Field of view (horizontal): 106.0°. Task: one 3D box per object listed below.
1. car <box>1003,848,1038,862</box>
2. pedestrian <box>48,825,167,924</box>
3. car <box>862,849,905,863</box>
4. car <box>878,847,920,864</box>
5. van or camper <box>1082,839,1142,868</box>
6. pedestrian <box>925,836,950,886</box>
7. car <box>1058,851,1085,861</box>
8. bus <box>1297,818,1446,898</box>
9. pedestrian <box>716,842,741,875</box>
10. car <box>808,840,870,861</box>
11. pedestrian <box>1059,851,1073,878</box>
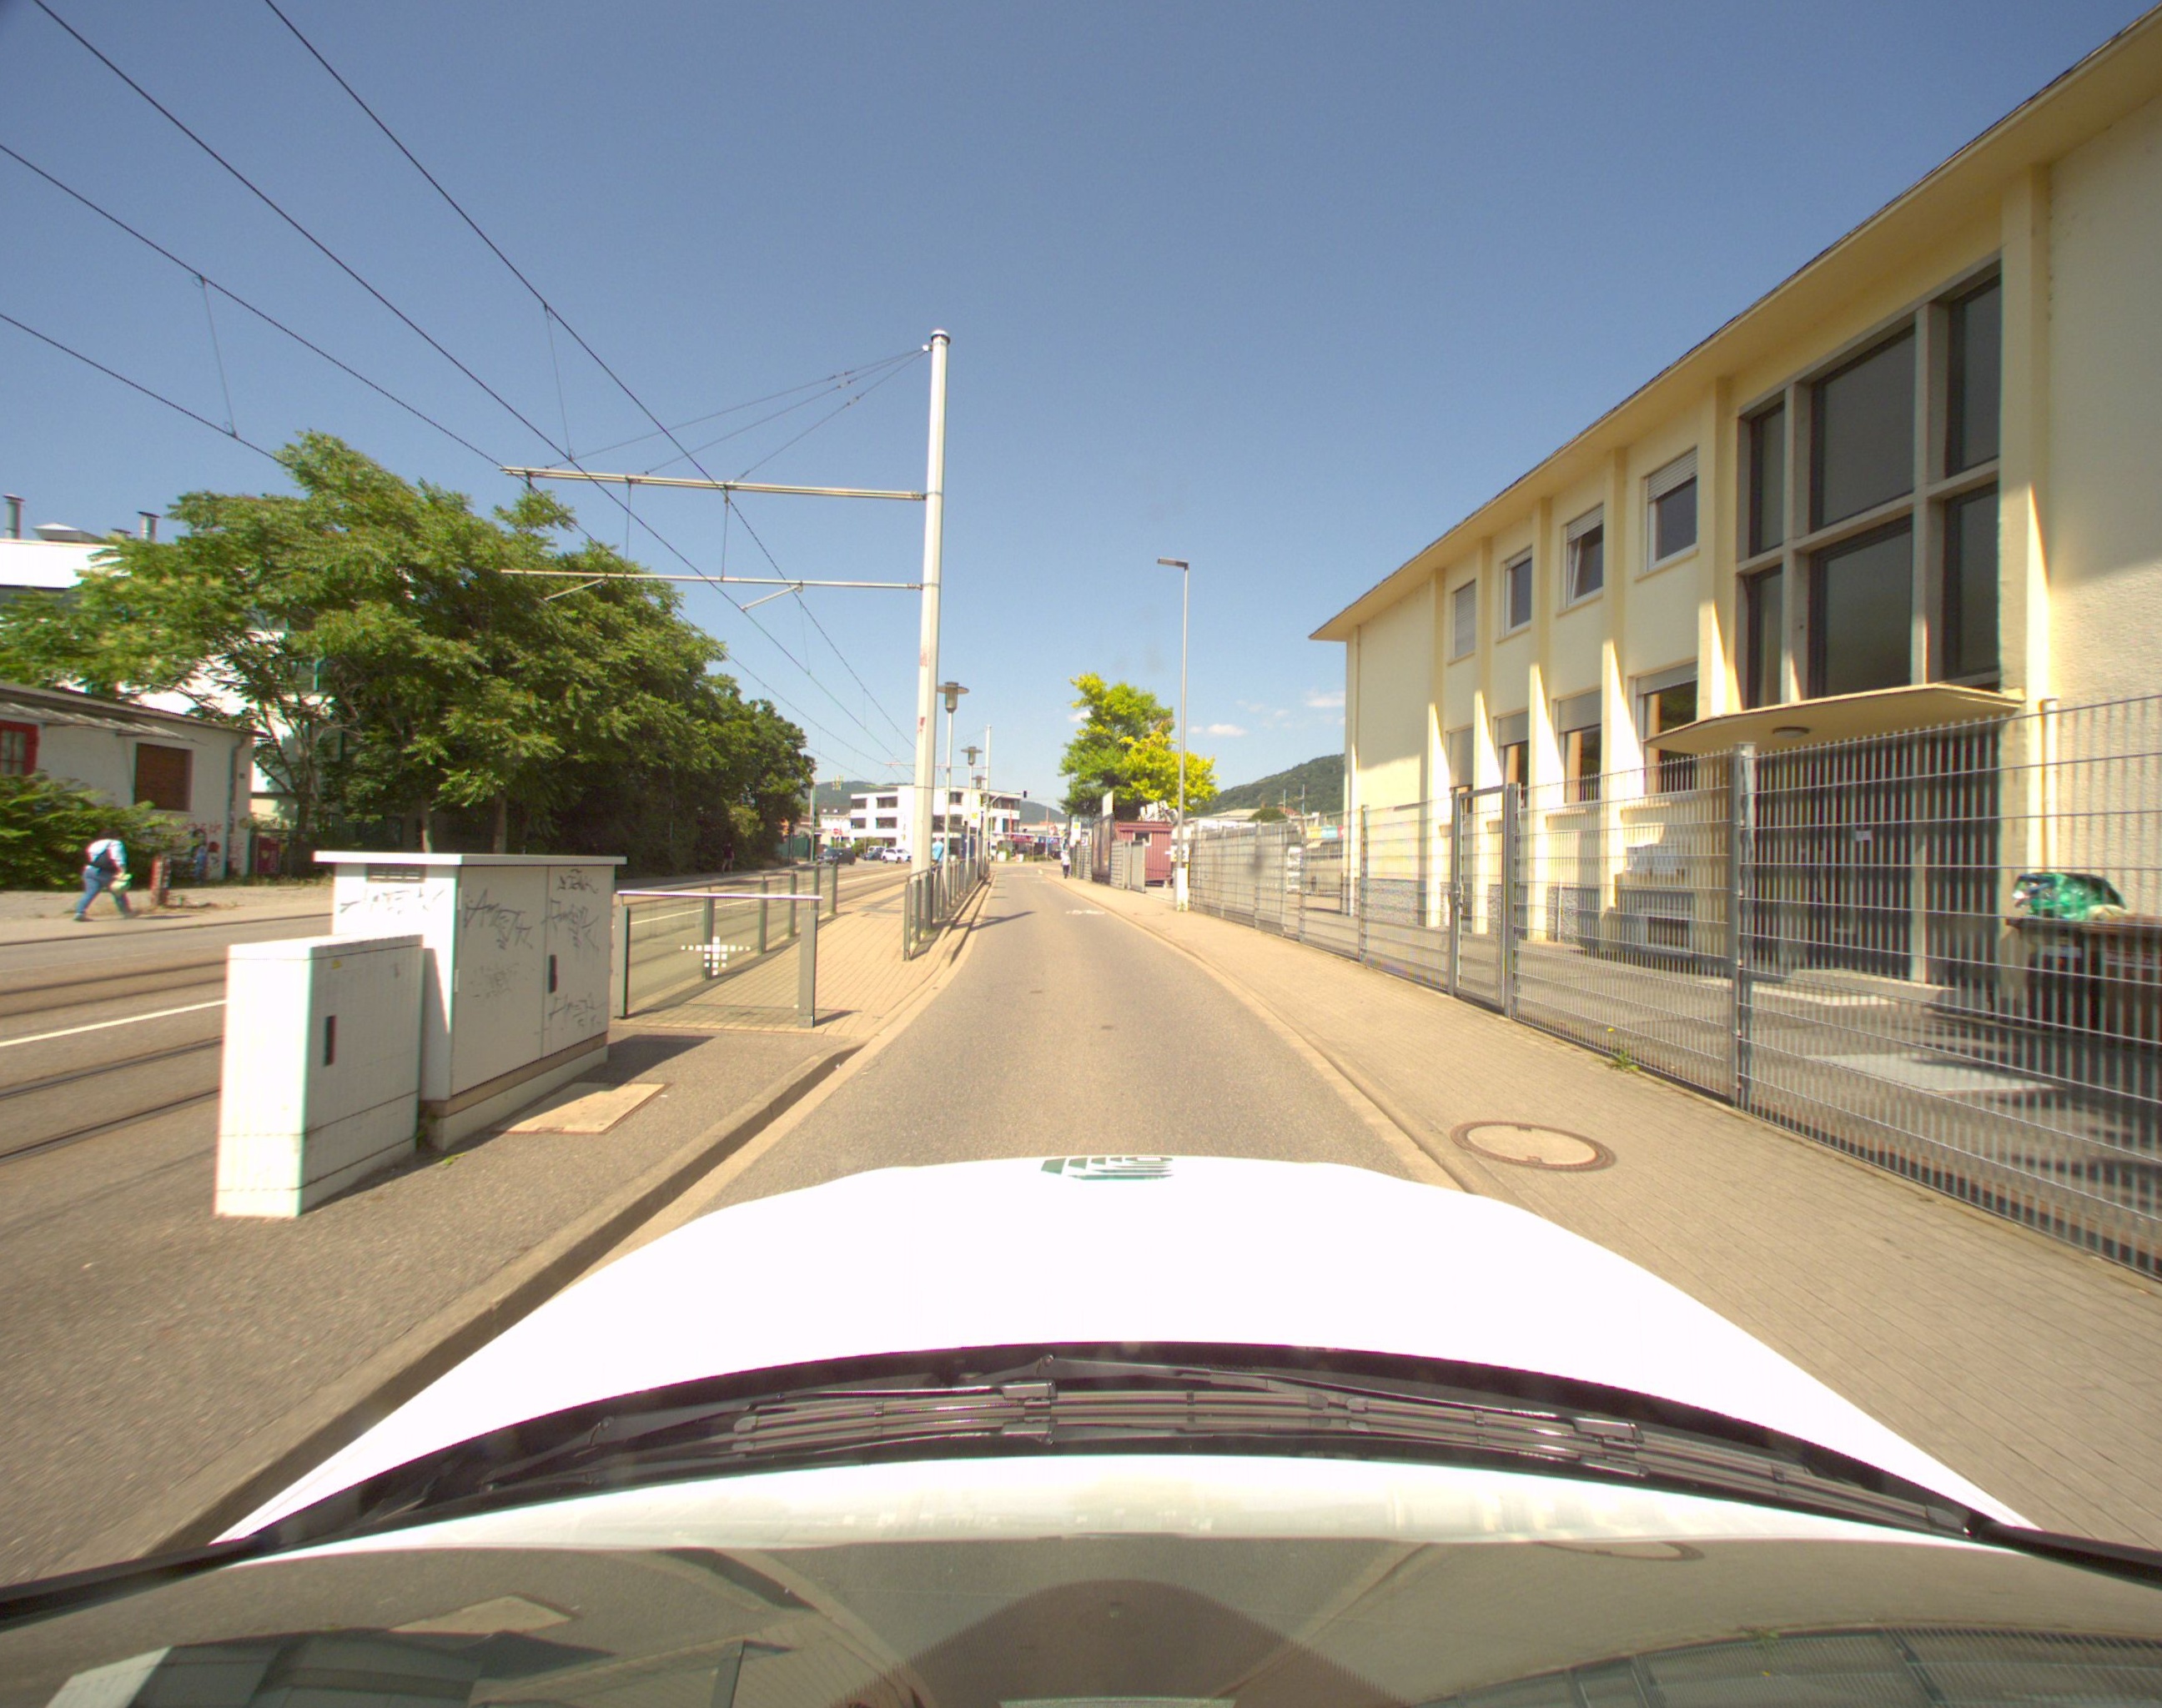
[{"bbox_3d":[-9.002,0.168,122.228,1.941,1.965,5.313,1,0,42],"label":"car"},{"bbox_3d":[-16.018,0.318,13.424,0.870,1.526,0.844,4,2,-7],"label":"pedestrian"},{"bbox_3d":[-24.996,0.276,103.248,1.931,1.665,4.940,0,0,44],"label":"car"},{"bbox_3d":[-19.335,0.115,86.553,4.505,1.733,2.013,0,0,38],"label":"car"},{"bbox_3d":[3.022,-0.030,79.996,5.797,2.773,2.089,1,1,-3],"label":"van or camper"},{"bbox_3d":[-5.079,0.233,28.825,0.723,1.724,0.943,2,0,-6],"label":"pedestrian"},{"bbox_3d":[-1.601,0.398,140.143,1.862,1.589,4.959,-1,-2,37],"label":"car"},{"bbox_3d":[12.996,0.341,37.734,2.561,3.172,10.250,1,-2,-4],"label":"bus"},{"bbox_3d":[-18.509,0.242,42.747,0.885,1.670,1.157,0,0,-6],"label":"pedestrian"},{"bbox_3d":[-21.438,-0.287,72.272,2.074,1.838,4.941,0,0,39],"label":"car"},{"bbox_3d":[-0.935,0.664,51.552,0.812,1.699,0.885,0,0,-8],"label":"pedestrian"}]
